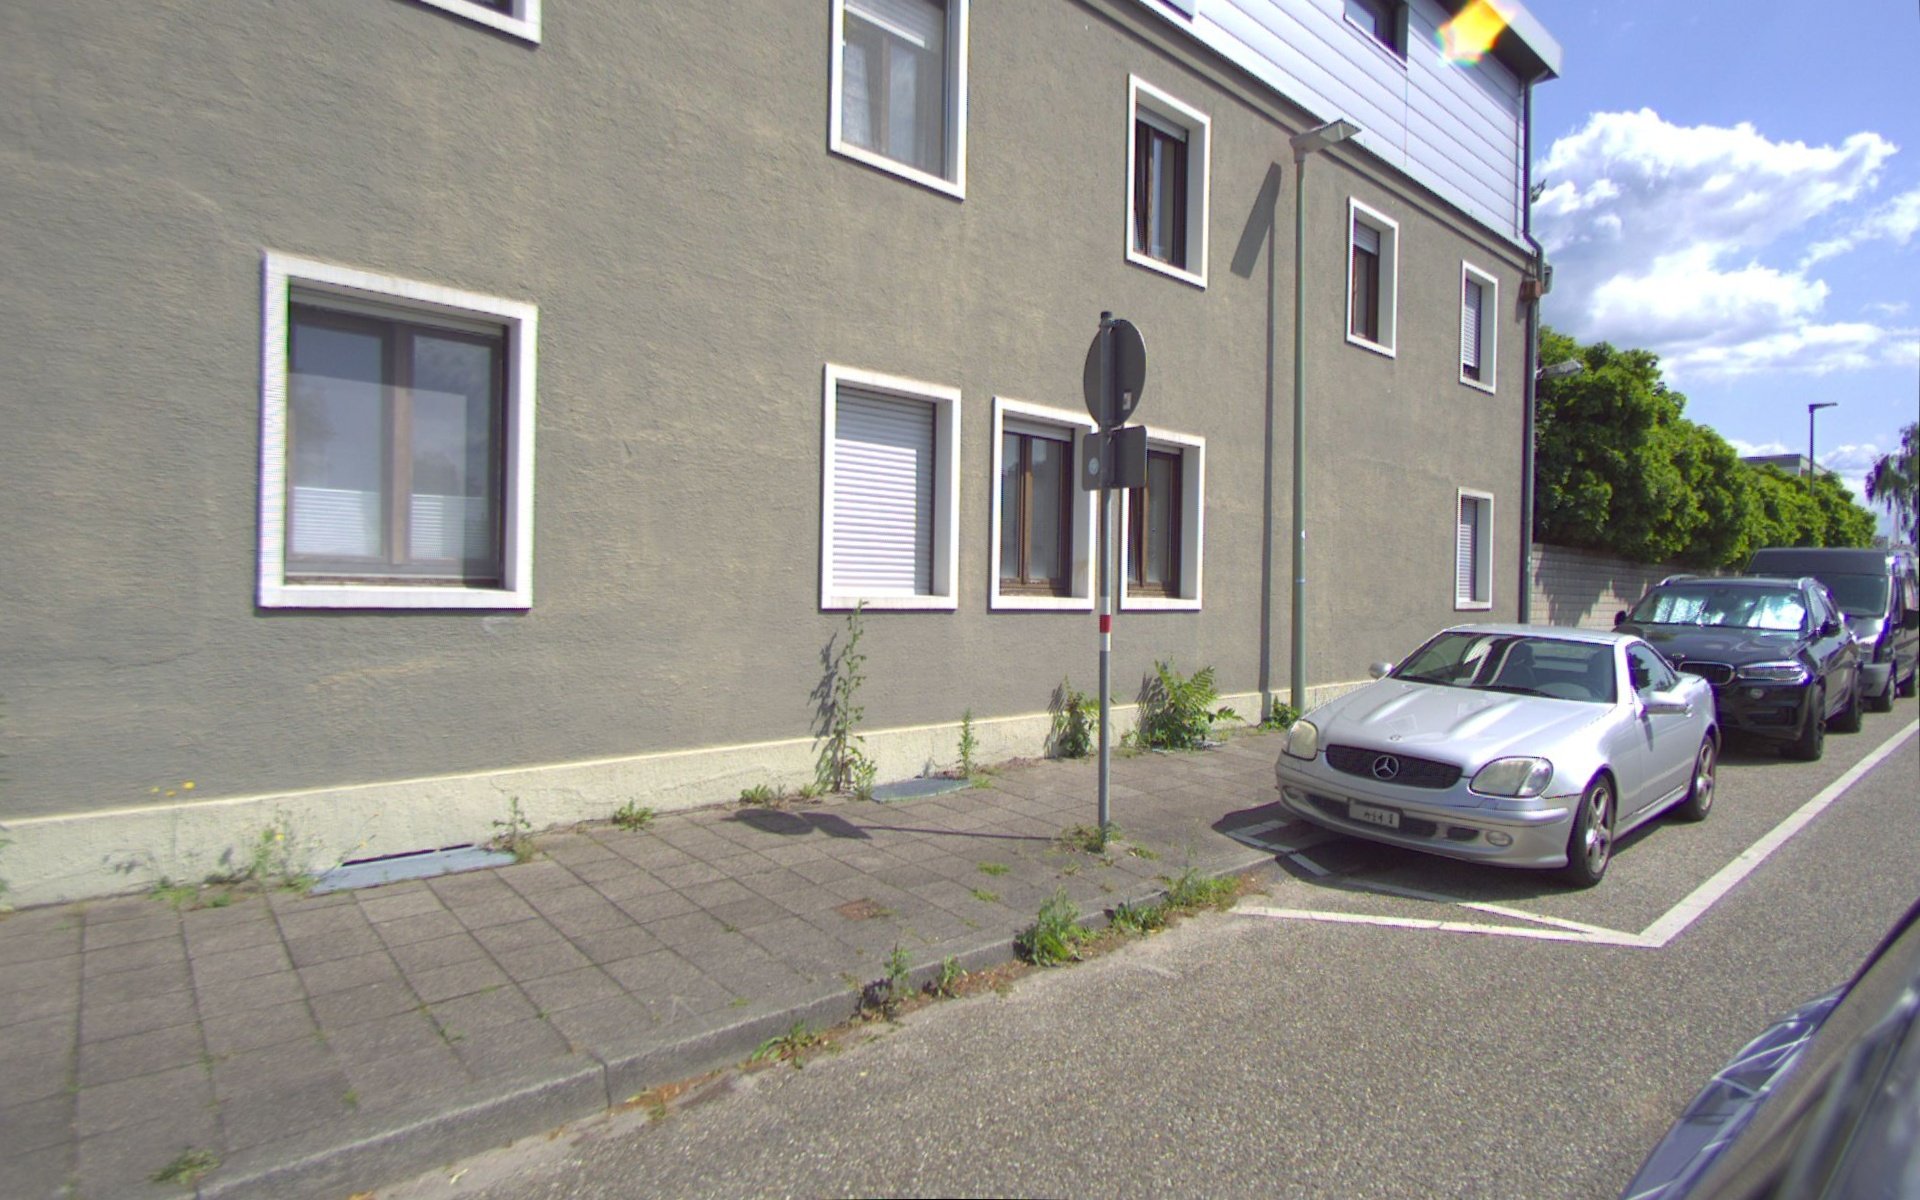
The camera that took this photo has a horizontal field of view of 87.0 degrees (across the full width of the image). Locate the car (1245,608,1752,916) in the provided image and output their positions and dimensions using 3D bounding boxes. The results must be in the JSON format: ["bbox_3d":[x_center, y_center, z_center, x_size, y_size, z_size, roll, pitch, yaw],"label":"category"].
[{"bbox_3d":[3.631,0.765,6.518,3.856,1.371,1.631,0,-1,-42],"label":"car"}]

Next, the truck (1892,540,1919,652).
[{"bbox_3d":[28.532,-0.123,28.739,7.067,2.977,2.477,0,-1,-43],"label":"truck"}]

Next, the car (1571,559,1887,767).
[{"bbox_3d":[8.616,0.545,11.150,4.871,1.803,1.962,0,-1,-43],"label":"car"}]

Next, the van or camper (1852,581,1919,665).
[{"bbox_3d":[22.672,0.479,23.838,5.489,1.828,1.762,0,0,-41],"label":"van or camper"}]

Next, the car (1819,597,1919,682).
[{"bbox_3d":[18.232,0.690,19.693,4.684,1.460,1.684,0,0,-42],"label":"car"}]

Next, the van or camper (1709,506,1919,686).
[{"bbox_3d":[13.460,-0.052,15.611,5.353,2.320,1.996,0,-1,-42],"label":"van or camper"}]
